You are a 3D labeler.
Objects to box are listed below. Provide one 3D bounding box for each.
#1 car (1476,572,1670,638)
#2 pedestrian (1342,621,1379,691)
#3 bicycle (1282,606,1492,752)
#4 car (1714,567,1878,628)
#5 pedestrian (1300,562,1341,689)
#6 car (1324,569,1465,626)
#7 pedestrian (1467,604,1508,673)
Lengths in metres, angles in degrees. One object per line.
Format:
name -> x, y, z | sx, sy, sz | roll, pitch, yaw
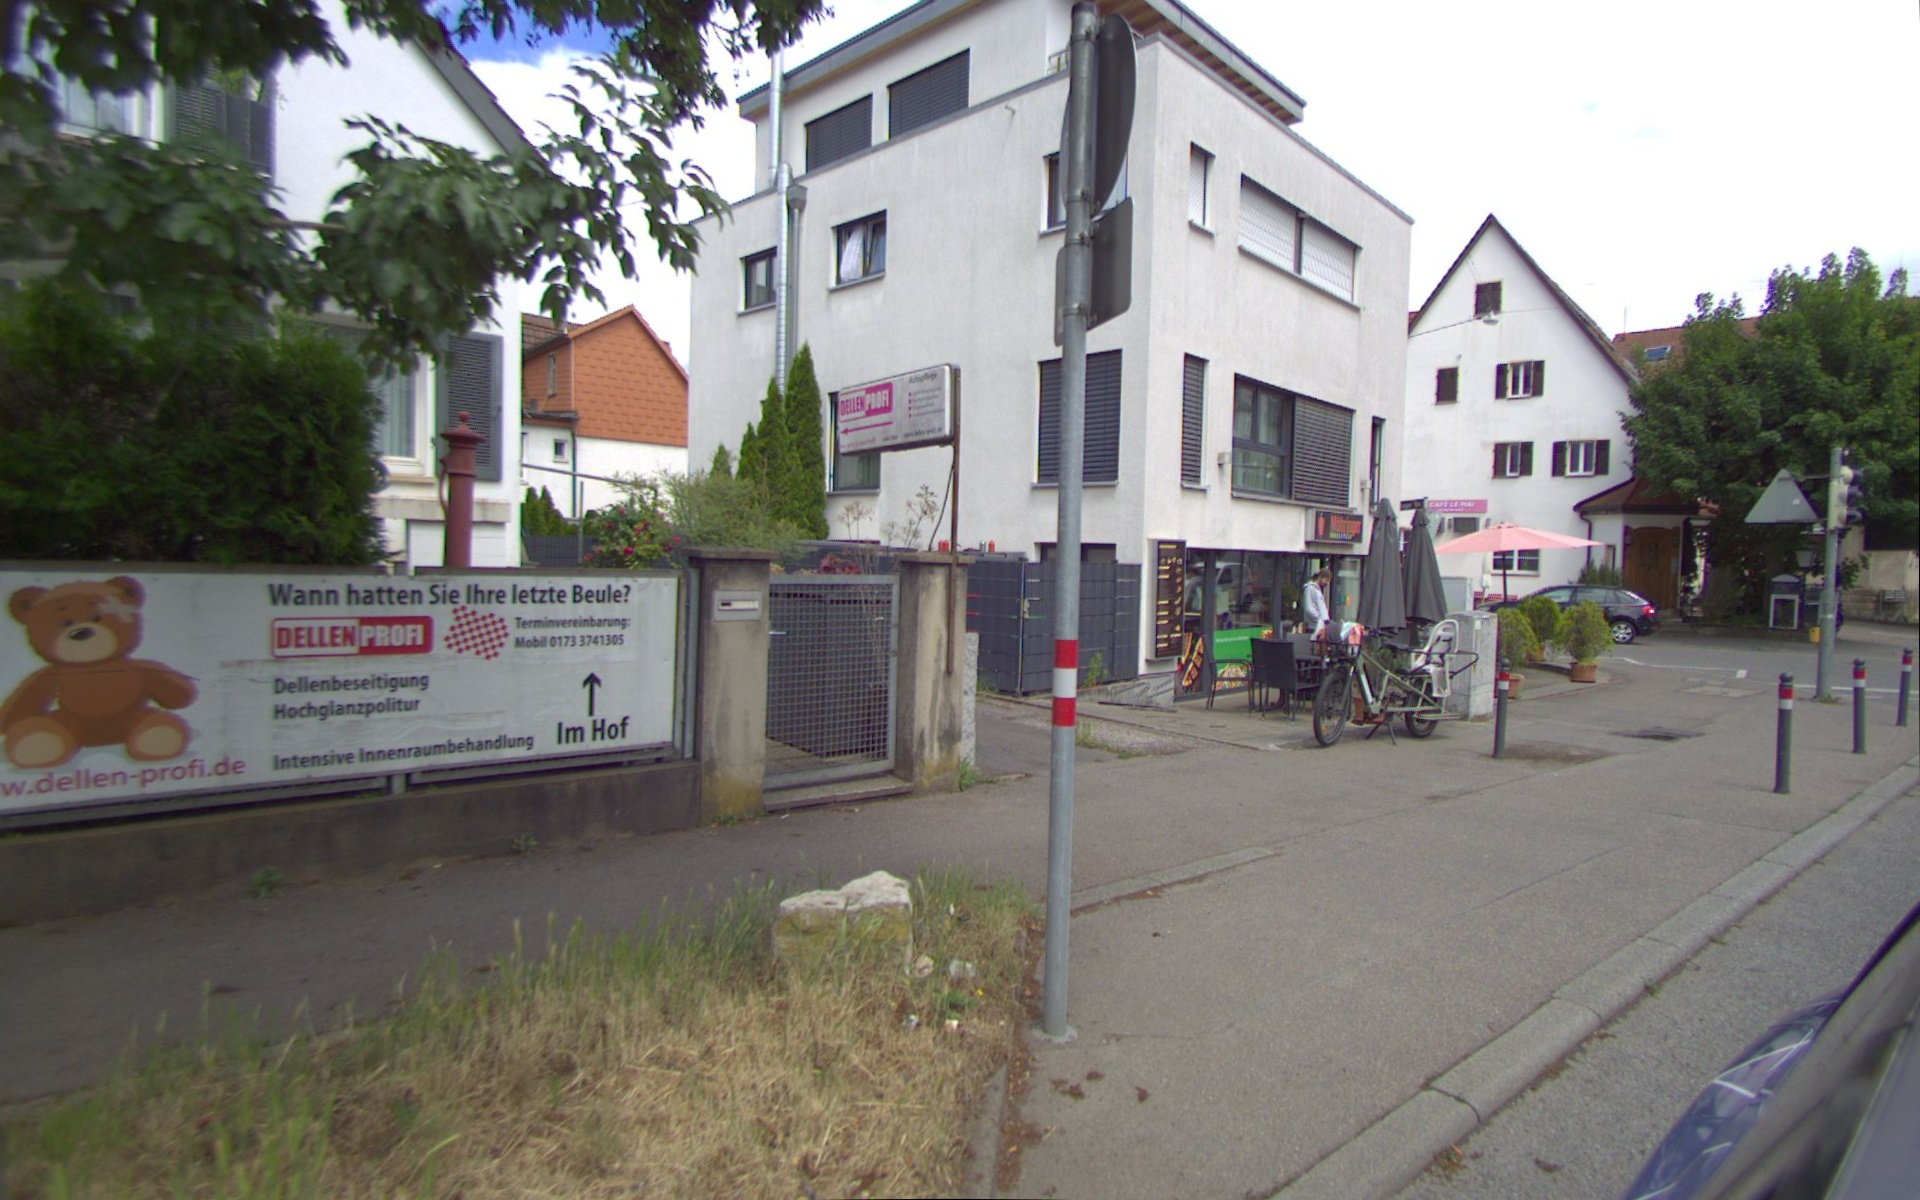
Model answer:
car -> 15.966, 0.090, 26.484 | 4.158, 1.433, 1.757 | 4, 2, 35
pedestrian -> 5.728, 0.788, 14.456 | 0.416, 0.950, 0.492 | 2, 2, 30
bicycle -> 4.010, 0.674, 9.429 | 2.171, 1.164, 0.723 | -1, 2, -34
car -> 25.677, -0.077, 31.118 | 3.993, 1.535, 1.763 | 3, 5, -15
pedestrian -> 5.242, 0.346, 14.700 | 0.425, 1.783, 0.669 | 2, 2, 29
car -> 12.452, -0.116, 29.071 | 3.407, 1.504, 1.630 | 2, 2, 38
pedestrian -> 8.989, 0.643, 17.256 | 0.562, 1.102, 0.629 | 2, 2, 25
